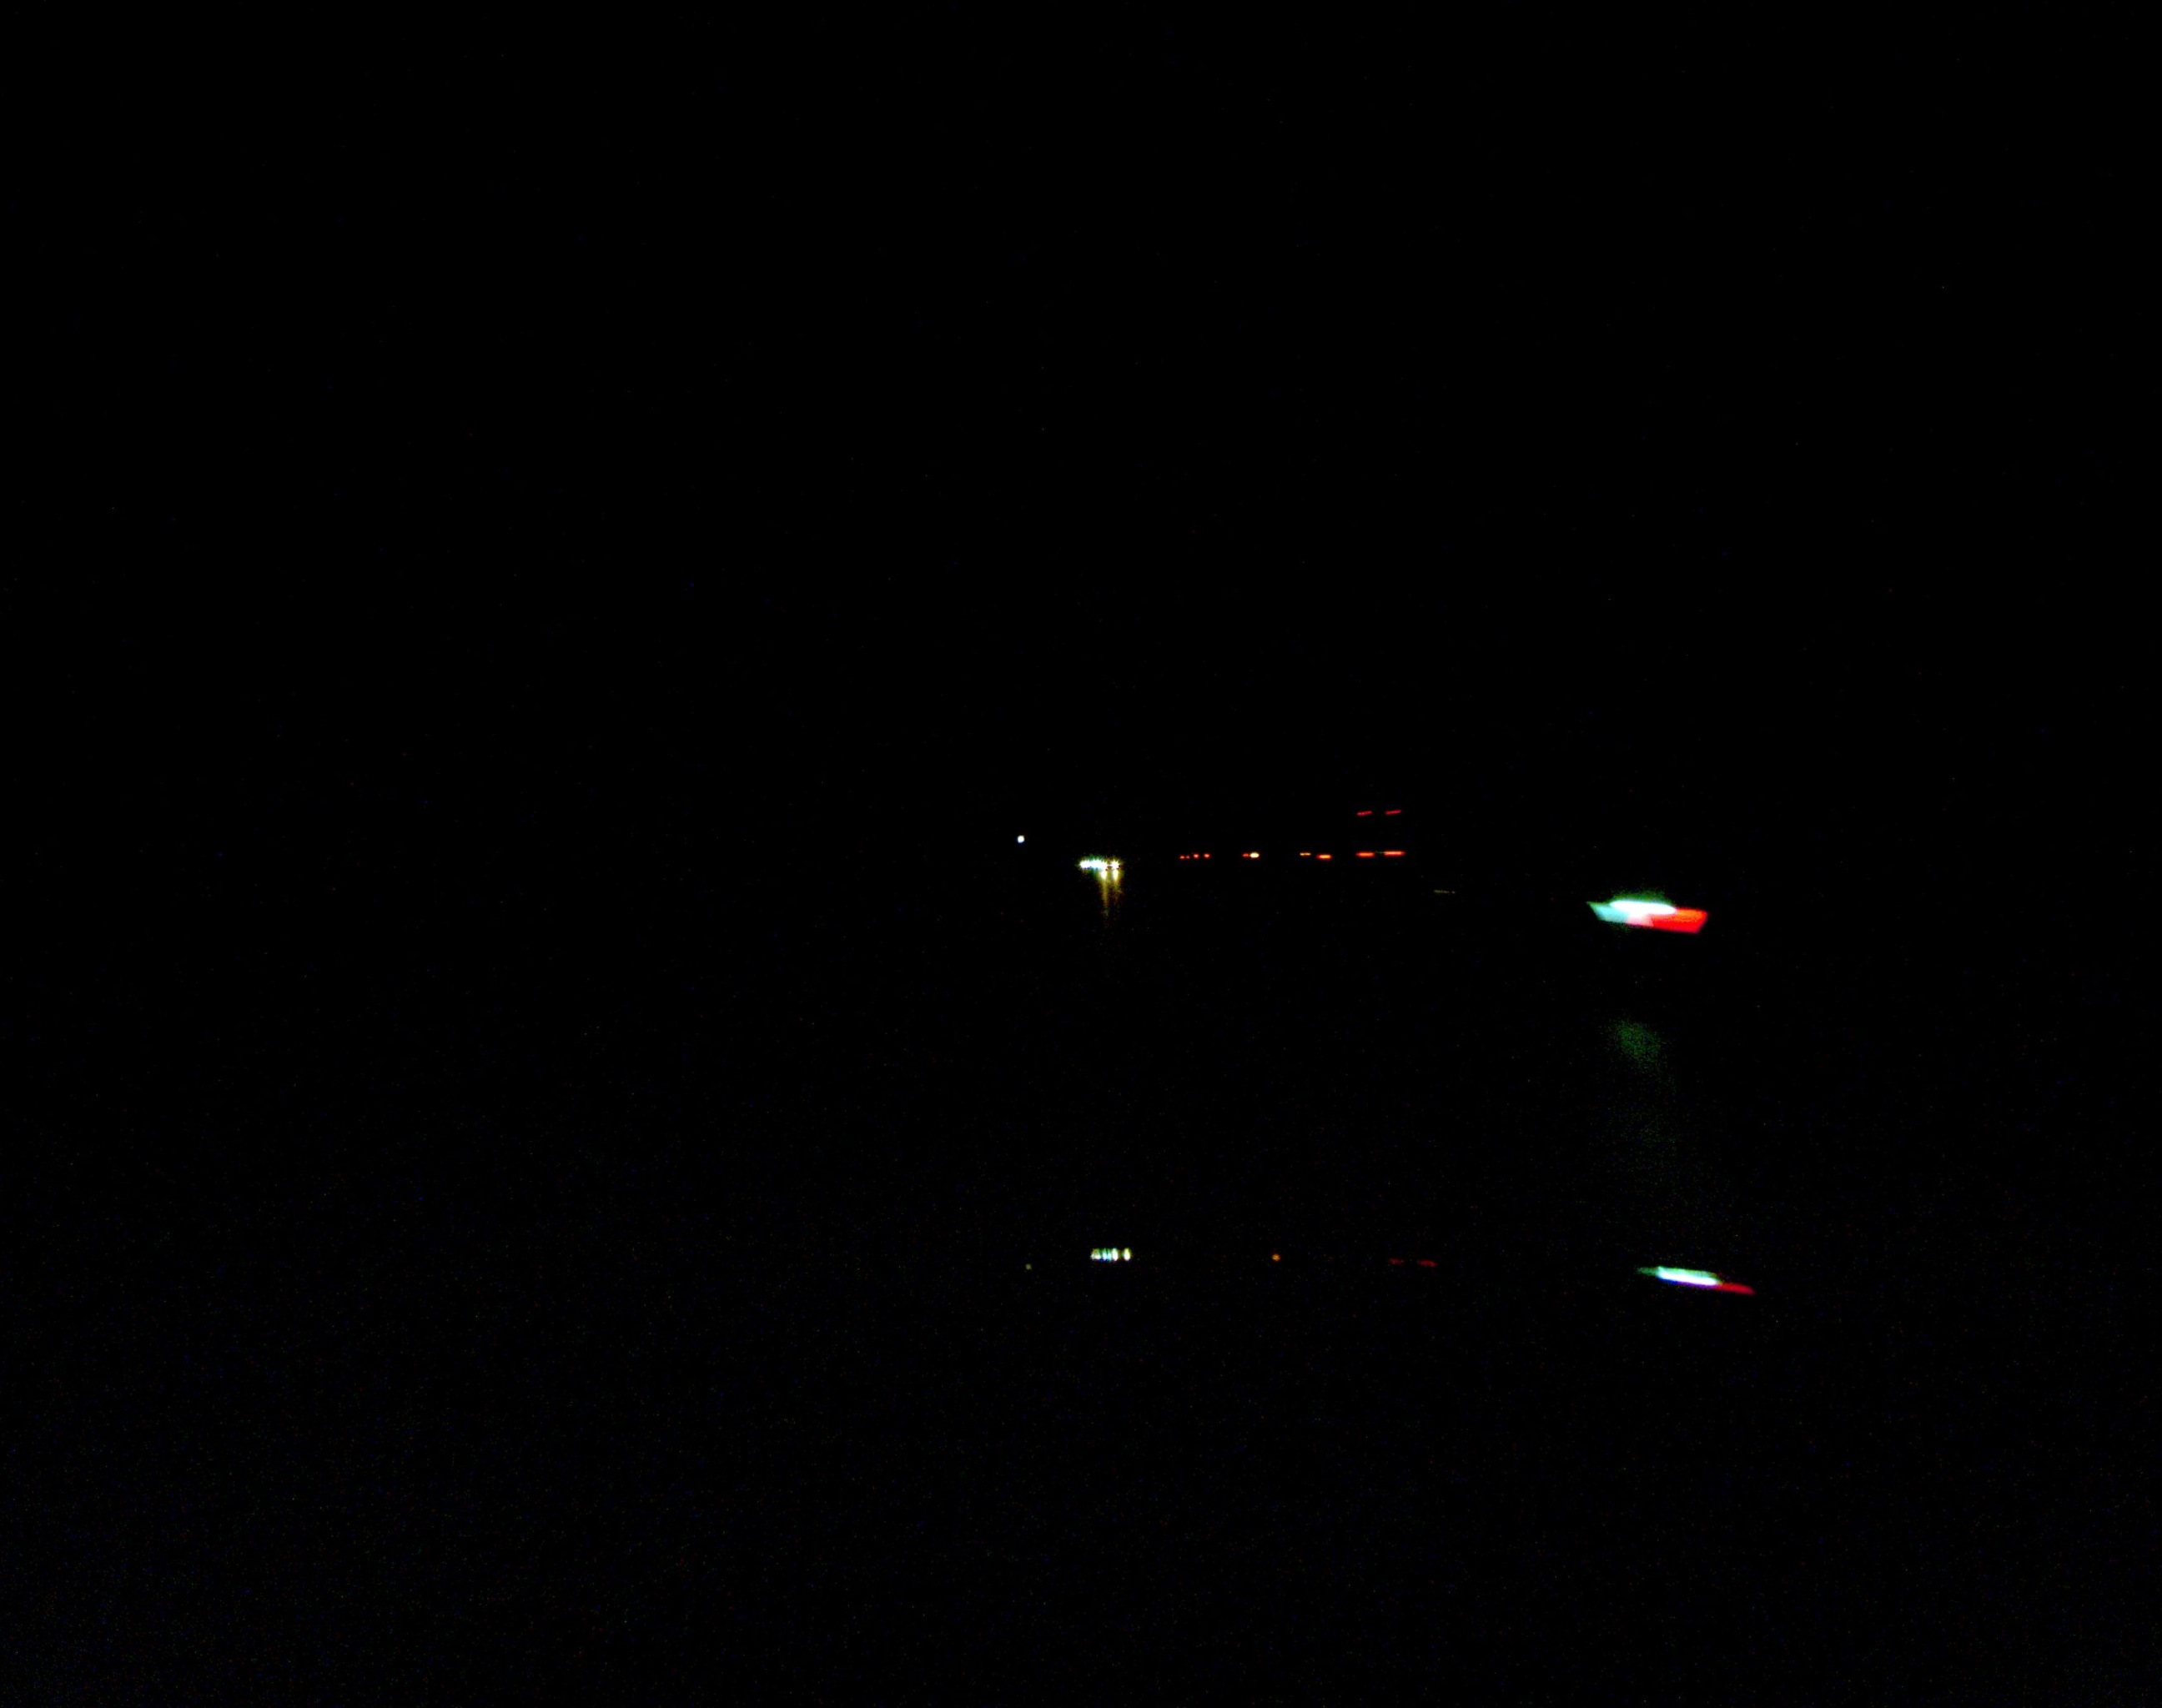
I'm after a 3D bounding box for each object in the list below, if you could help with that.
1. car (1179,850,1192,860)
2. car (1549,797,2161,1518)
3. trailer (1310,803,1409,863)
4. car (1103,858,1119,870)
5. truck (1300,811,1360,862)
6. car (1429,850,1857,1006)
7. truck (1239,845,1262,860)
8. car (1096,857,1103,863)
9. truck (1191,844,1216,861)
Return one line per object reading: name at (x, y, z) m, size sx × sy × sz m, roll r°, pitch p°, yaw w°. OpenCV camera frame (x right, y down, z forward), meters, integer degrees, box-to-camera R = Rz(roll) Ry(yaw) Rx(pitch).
car at (23.715, 0.180, 172.826) m, size 2.202 × 1.944 × 4.763 m, roll -5°, pitch 0°, yaw 1°
car at (3.538, 0.695, 1.189) m, size 1.998 × 1.711 × 5.943 m, roll -1°, pitch 0°, yaw 1°
trailer at (23.345, -1.602, 64.943) m, size 3.333 × 4.407 × 14.024 m, roll -3°, pitch 0°, yaw 1°
car at (4.039, 1.364, 102.233) m, size 1.998 × 1.423 × 4.329 m, roll -5°, pitch 0°, yaw 1°
truck at (23.437, -1.571, 71.971) m, size 3.333 × 4.407 × 6.708 m, roll -3°, pitch 0°, yaw 1°
car at (6.707, 0.698, 10.104) m, size 1.554 × 1.423 × 5.513 m, roll -2°, pitch 1°, yaw -1°
truck at (22.209, -0.187, 99.663) m, size 2.040 × 1.746 × 4.763 m, roll -3°, pitch 0°, yaw 1°
car at (5.866, 2.023, 243.690) m, size 1.999 × 1.724 × 4.223 m, roll -5°, pitch 0°, yaw -3°
truck at (20.865, -0.224, 129.840) m, size 2.880 × 2.626 × 7.886 m, roll -4°, pitch 0°, yaw 1°
